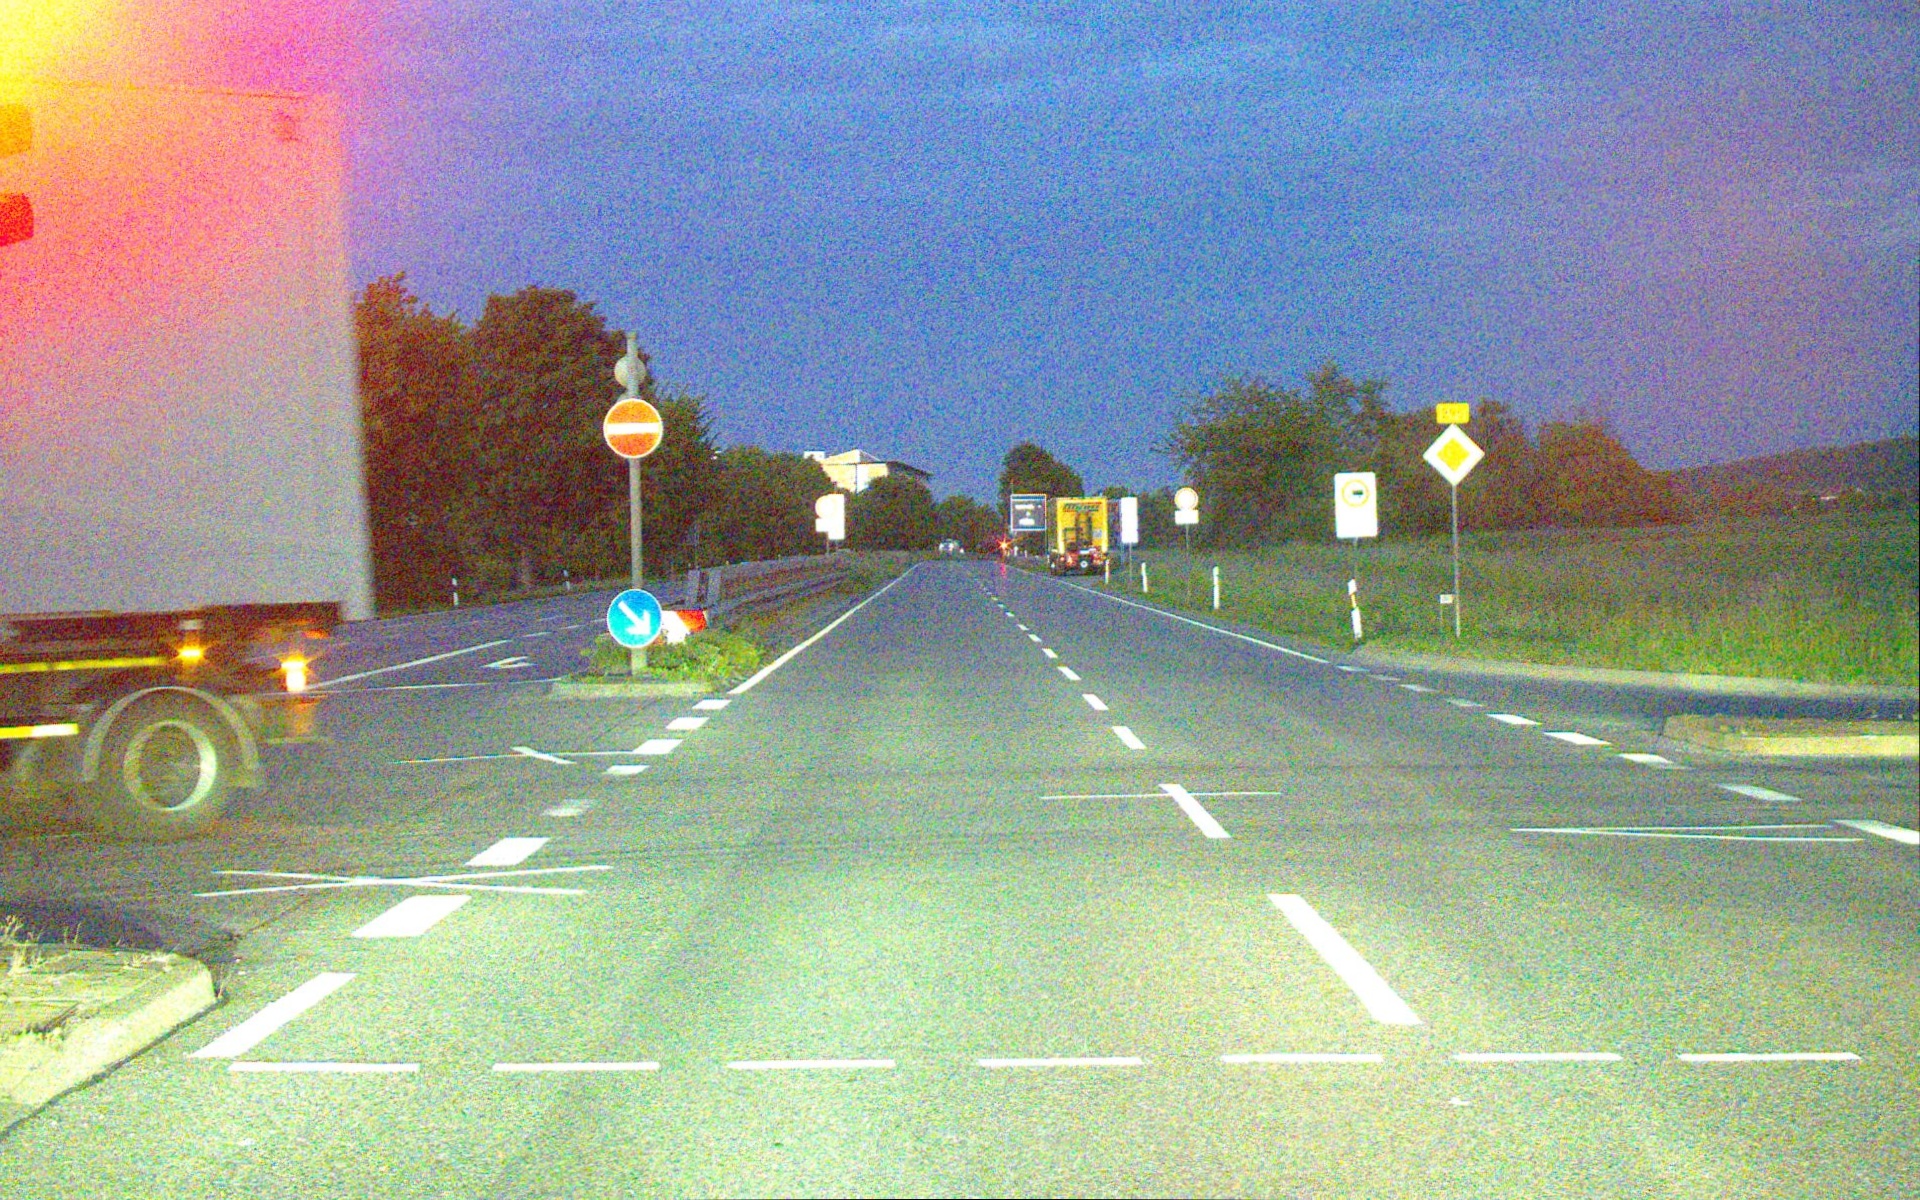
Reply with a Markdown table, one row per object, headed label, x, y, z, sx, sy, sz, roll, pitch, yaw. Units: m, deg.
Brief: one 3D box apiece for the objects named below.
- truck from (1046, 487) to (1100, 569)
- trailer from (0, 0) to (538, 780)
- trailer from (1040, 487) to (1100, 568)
| label | x | y | z | sx | sy | sz | roll | pitch | yaw |
| --- | --- | --- | --- | --- | --- | --- | --- | --- | --- |
| truck | 5.723 | -3.670 | 174.945 | 2.579 | 4.057 | 6.130 | 0 | 1 | 1 |
| trailer | -6.662 | -1.020 | 17.373 | 8.851 | 3.929 | 2.584 | -3 | 2 | -39 |
| trailer | 5.766 | -3.824 | 182.024 | 2.622 | 4.090 | 12.938 | -1 | 1 | 0 |
